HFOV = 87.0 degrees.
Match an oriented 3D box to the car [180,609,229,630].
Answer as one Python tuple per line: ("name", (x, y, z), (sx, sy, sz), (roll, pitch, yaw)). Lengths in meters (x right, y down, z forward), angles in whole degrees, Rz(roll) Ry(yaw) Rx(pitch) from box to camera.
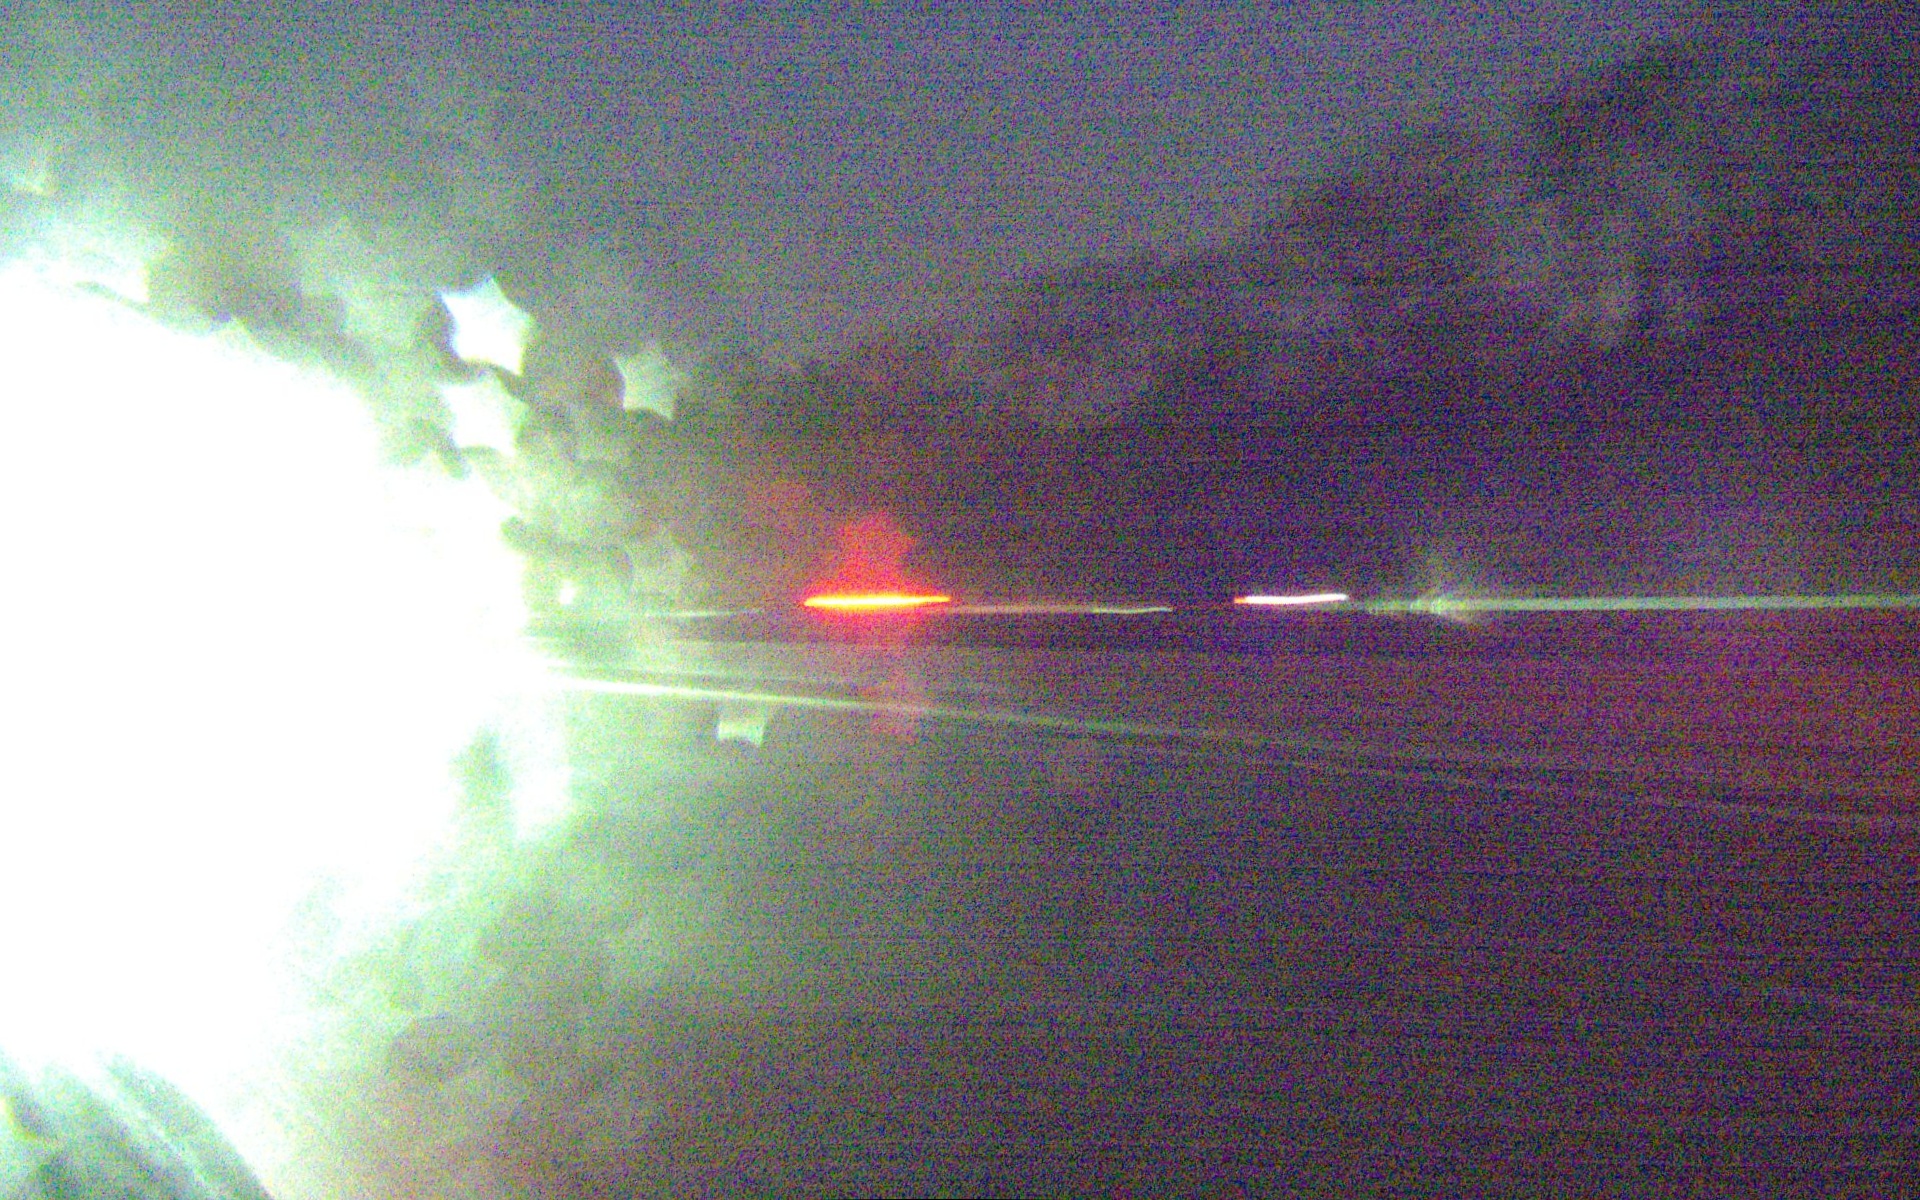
("car", (-59.190, 1.529, 79.212), (5.367, 1.475, 1.952), (-1, 2, 41))

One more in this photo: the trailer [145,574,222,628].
("trailer", (-80.408, 0.144, 104.734), (8.991, 5.178, 4.296), (-2, 3, 41))

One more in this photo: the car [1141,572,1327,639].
("car", (6.749, 0.136, 25.097), (3.996, 1.475, 1.941), (-1, 2, 40))

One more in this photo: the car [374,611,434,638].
("car", (-33.732, 1.459, 61.343), (4.298, 1.475, 1.860), (-1, 2, 43))

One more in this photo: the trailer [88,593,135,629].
("trailer", (-136.496, 1.740, 162.742), (13.748, 5.486, 4.122), (-1, 0, 43))

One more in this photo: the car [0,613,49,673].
("car", (-29.048, 1.278, 30.674), (1.970, 1.689, 4.003), (-1, 0, -44))

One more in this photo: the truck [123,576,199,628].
("truck", (-87.816, 0.295, 111.152), (10.465, 5.178, 4.297), (-2, 3, 41))

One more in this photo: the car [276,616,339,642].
("car", (-40.513, 1.777, 62.755), (4.896, 1.475, 1.952), (-1, 2, 41))

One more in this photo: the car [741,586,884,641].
("car", (-4.326, 0.373, 29.420), (3.996, 1.475, 1.952), (-1, 0, 40))

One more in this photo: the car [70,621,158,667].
("car", (-32.612, 1.643, 38.989), (2.278, 1.621, 3.873), (-1, 0, -45))

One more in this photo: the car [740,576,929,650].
("car", (-2.834, 0.274, 22.438), (3.996, 1.475, 1.952), (-1, 0, 40))
